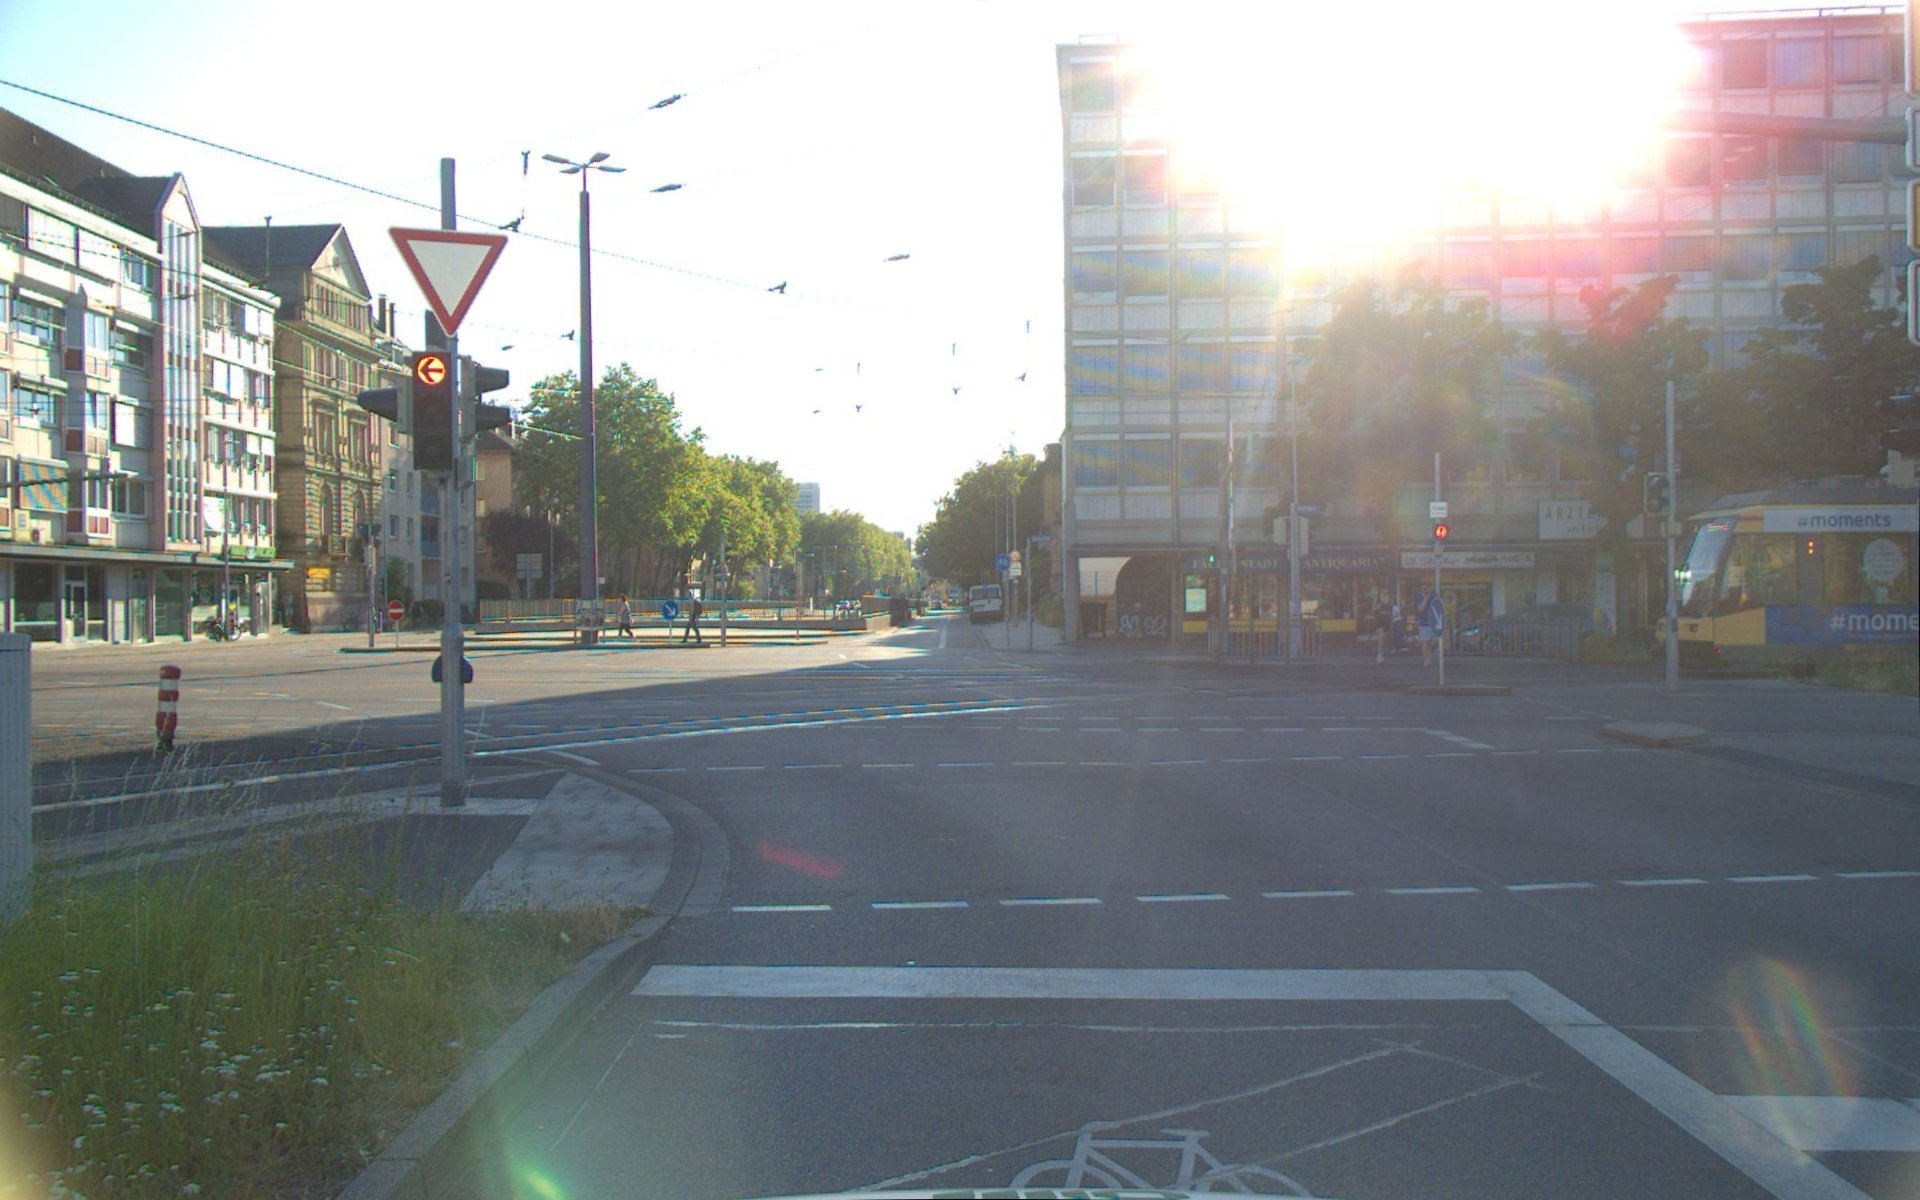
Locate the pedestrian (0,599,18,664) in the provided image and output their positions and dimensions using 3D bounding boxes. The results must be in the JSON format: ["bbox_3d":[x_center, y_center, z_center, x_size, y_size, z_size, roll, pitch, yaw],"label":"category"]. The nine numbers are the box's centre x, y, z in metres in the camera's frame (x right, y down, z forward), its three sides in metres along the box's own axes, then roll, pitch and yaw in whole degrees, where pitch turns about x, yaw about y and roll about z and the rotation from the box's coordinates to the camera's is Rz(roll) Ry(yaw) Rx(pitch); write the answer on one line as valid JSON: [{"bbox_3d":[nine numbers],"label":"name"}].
[{"bbox_3d":[-30.349,0.989,51.772,1.171,1.914,0.856,1,7,-5],"label":"pedestrian"}]

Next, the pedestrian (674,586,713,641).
[{"bbox_3d":[-8.697,0.439,53.956,1.171,1.761,0.855,1,-1,-5],"label":"pedestrian"}]

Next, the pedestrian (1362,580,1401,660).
[{"bbox_3d":[9.140,0.434,35.908,0.680,1.712,1.043,1,0,8],"label":"pedestrian"}]

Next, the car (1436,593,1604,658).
[{"bbox_3d":[15.130,0.680,44.838,3.982,1.646,1.845,1,0,4],"label":"car"}]

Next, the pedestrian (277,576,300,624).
[{"bbox_3d":[-34.531,-0.002,85.073,0.910,2.440,0.958,1,-1,-11],"label":"pedestrian"}]

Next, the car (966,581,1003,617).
[{"bbox_3d":[1.571,-0.053,103.936,2.238,2.210,4.834,1,0,1],"label":"car"}]

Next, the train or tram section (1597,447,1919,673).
[{"bbox_3d":[19.102,-0.736,30.837,13.047,3.901,3.714,-1,0,-2],"label":"train or tram section"}]

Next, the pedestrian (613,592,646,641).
[{"bbox_3d":[-10.375,0.529,51.961,0.844,1.491,0.679,1,-6,-30],"label":"pedestrian"}]

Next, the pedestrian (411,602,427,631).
[{"bbox_3d":[-32.327,0.977,98.815,0.681,1.725,0.724,1,-1,-1],"label":"pedestrian"}]

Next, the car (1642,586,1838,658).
[{"bbox_3d":[18.911,0.525,40.249,3.903,1.646,1.845,1,0,4],"label":"car"}]

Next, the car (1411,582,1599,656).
[{"bbox_3d":[12.859,0.448,39.200,3.903,1.646,1.845,1,0,4],"label":"car"}]

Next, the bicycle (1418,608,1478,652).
[{"bbox_3d":[14.591,0.881,49.544,0.735,1.163,2.638,1,2,-6],"label":"bicycle"}]

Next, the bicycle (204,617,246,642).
[{"bbox_3d":[-32.431,1.293,73.028,0.441,1.089,2.093,1,0,16],"label":"bicycle"}]

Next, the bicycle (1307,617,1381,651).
[{"bbox_3d":[11.220,0.994,48.374,1.983,0.957,0.671,1,0,-2],"label":"bicycle"}]

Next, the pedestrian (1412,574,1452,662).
[{"bbox_3d":[10.031,0.381,35.154,0.680,1.824,1.043,1,-1,9],"label":"pedestrian"}]

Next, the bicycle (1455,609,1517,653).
[{"bbox_3d":[15.762,0.910,49.608,0.735,1.163,2.638,1,2,-6],"label":"bicycle"}]
